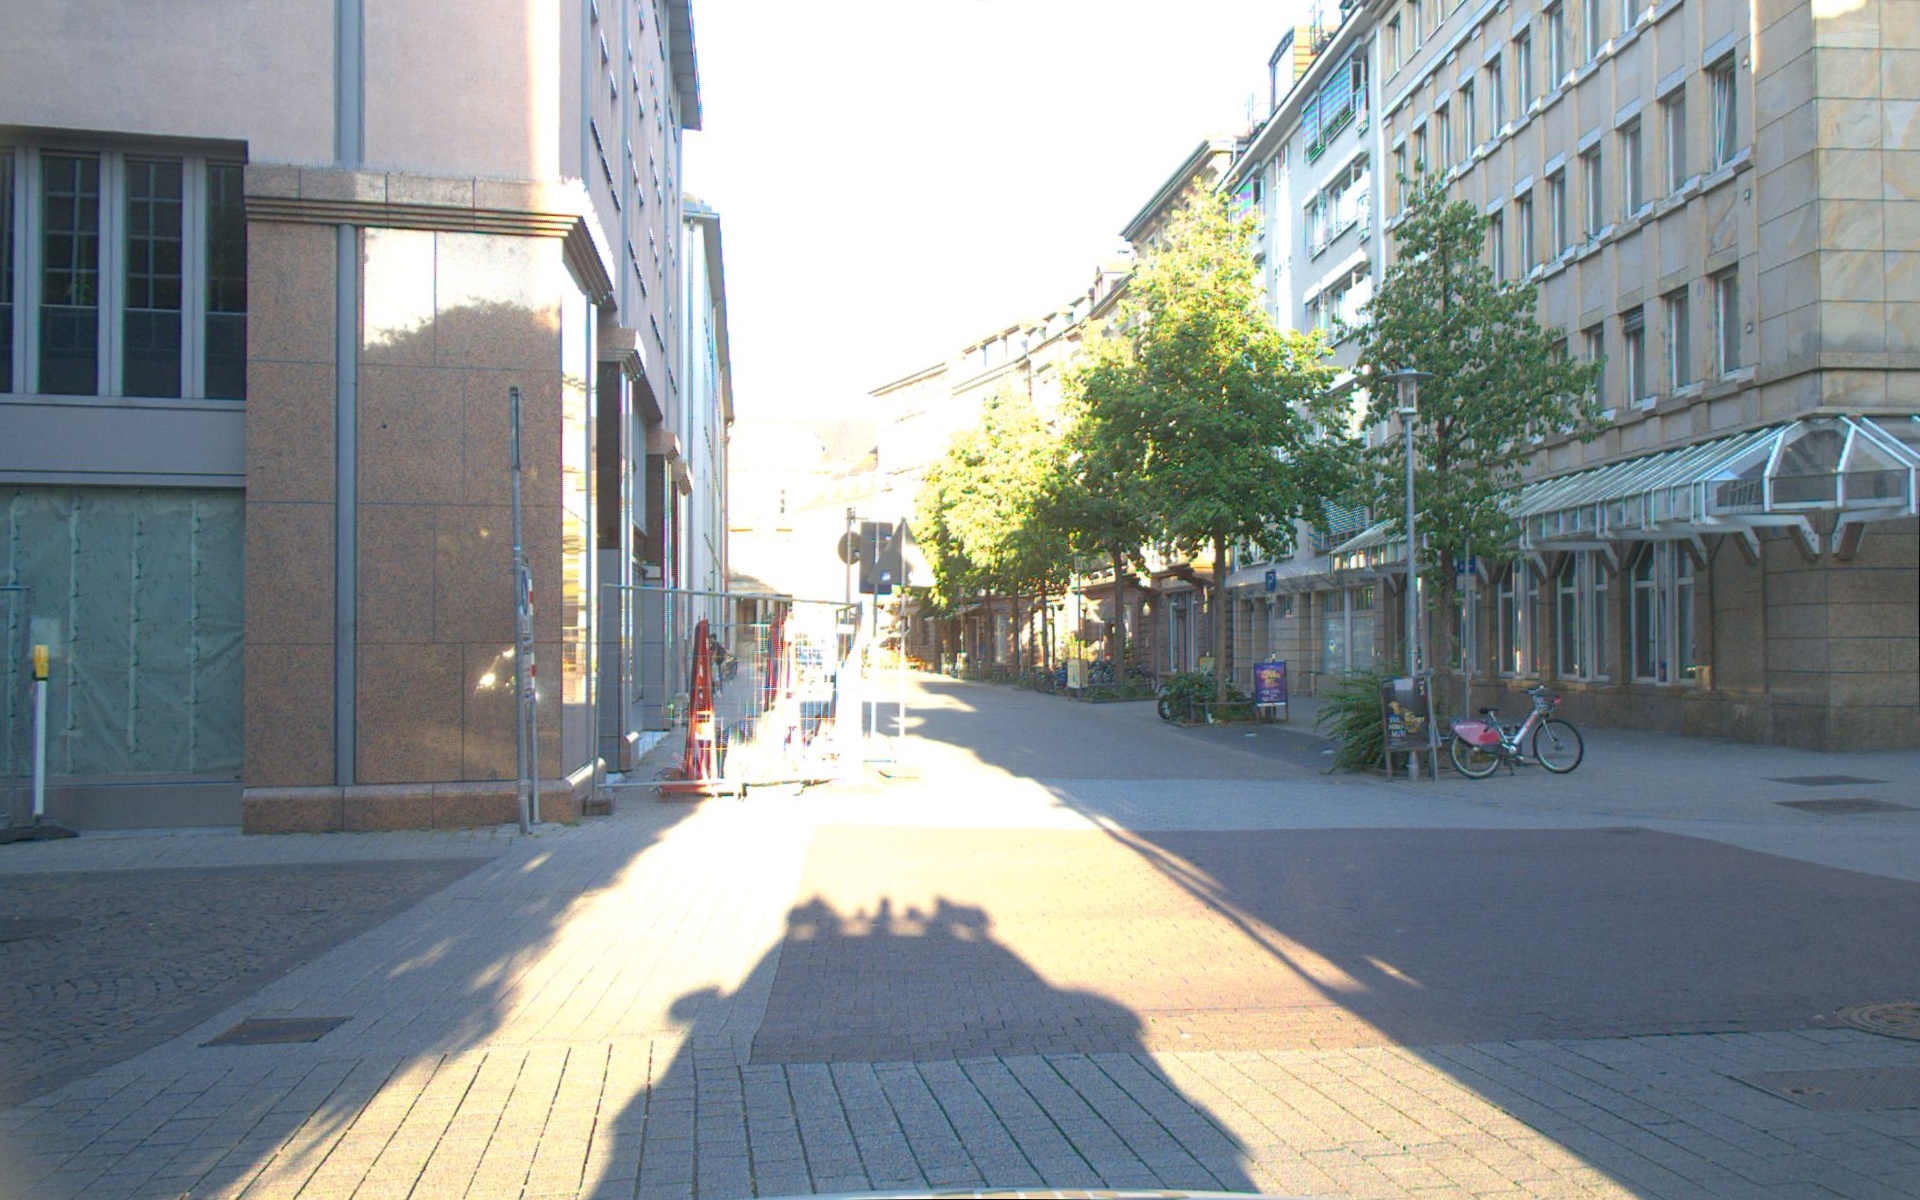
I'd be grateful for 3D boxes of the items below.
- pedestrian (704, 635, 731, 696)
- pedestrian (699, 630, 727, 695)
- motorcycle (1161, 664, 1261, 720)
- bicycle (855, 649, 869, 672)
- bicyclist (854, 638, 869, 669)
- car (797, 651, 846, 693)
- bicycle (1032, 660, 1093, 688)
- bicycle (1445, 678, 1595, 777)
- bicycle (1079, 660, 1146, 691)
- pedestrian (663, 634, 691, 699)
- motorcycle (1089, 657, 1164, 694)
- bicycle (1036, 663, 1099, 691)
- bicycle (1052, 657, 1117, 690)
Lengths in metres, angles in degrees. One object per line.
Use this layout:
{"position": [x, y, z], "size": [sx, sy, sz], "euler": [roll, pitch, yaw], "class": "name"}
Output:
{"position": [-6.846, 1.840, 46.701], "size": [0.641, 1.680, 0.634], "euler": [-1, -2, 0], "class": "pedestrian"}
{"position": [-6.884, 1.745, 46.130], "size": [0.641, 1.795, 0.634], "euler": [-1, -2, 0], "class": "pedestrian"}
{"position": [5.568, 2.030, 36.679], "size": [2.112, 1.171, 0.493], "euler": [-1, -2, -8], "class": "motorcycle"}
{"position": [-4.797, 2.949, 80.855], "size": [0.577, 1.114, 2.156], "euler": [-1, -2, -7], "class": "bicycle"}
{"position": [-4.819, 2.597, 80.729], "size": [0.707, 1.494, 0.716], "euler": [-1, -1, -6], "class": "bicyclist"}
{"position": [-6.021, 3.084, 71.437], "size": [1.808, 1.713, 3.636], "euler": [-1, -2, -10], "class": "car"}
{"position": [3.731, 2.704, 60.342], "size": [2.115, 0.942, 0.589], "euler": [-1, -2, -12], "class": "bicycle"}
{"position": [6.840, 1.554, 20.264], "size": [1.621, 1.069, 0.663], "euler": [-4, -1, 13], "class": "bicycle"}
{"position": [4.998, 2.467, 54.119], "size": [2.121, 0.942, 0.587], "euler": [-1, -3, -20], "class": "bicycle"}
{"position": [-7.844, 1.836, 45.886], "size": [0.641, 1.756, 0.634], "euler": [-1, -2, 0], "class": "pedestrian"}
{"position": [5.335, 2.426, 52.991], "size": [2.442, 1.114, 0.585], "euler": [0, -3, -28], "class": "motorcycle"}
{"position": [3.784, 2.706, 58.222], "size": [2.115, 0.942, 0.589], "euler": [-1, -2, -12], "class": "bicycle"}
{"position": [4.220, 2.487, 55.905], "size": [2.107, 1.080, 0.591], "euler": [-2, -2, 9], "class": "bicycle"}
